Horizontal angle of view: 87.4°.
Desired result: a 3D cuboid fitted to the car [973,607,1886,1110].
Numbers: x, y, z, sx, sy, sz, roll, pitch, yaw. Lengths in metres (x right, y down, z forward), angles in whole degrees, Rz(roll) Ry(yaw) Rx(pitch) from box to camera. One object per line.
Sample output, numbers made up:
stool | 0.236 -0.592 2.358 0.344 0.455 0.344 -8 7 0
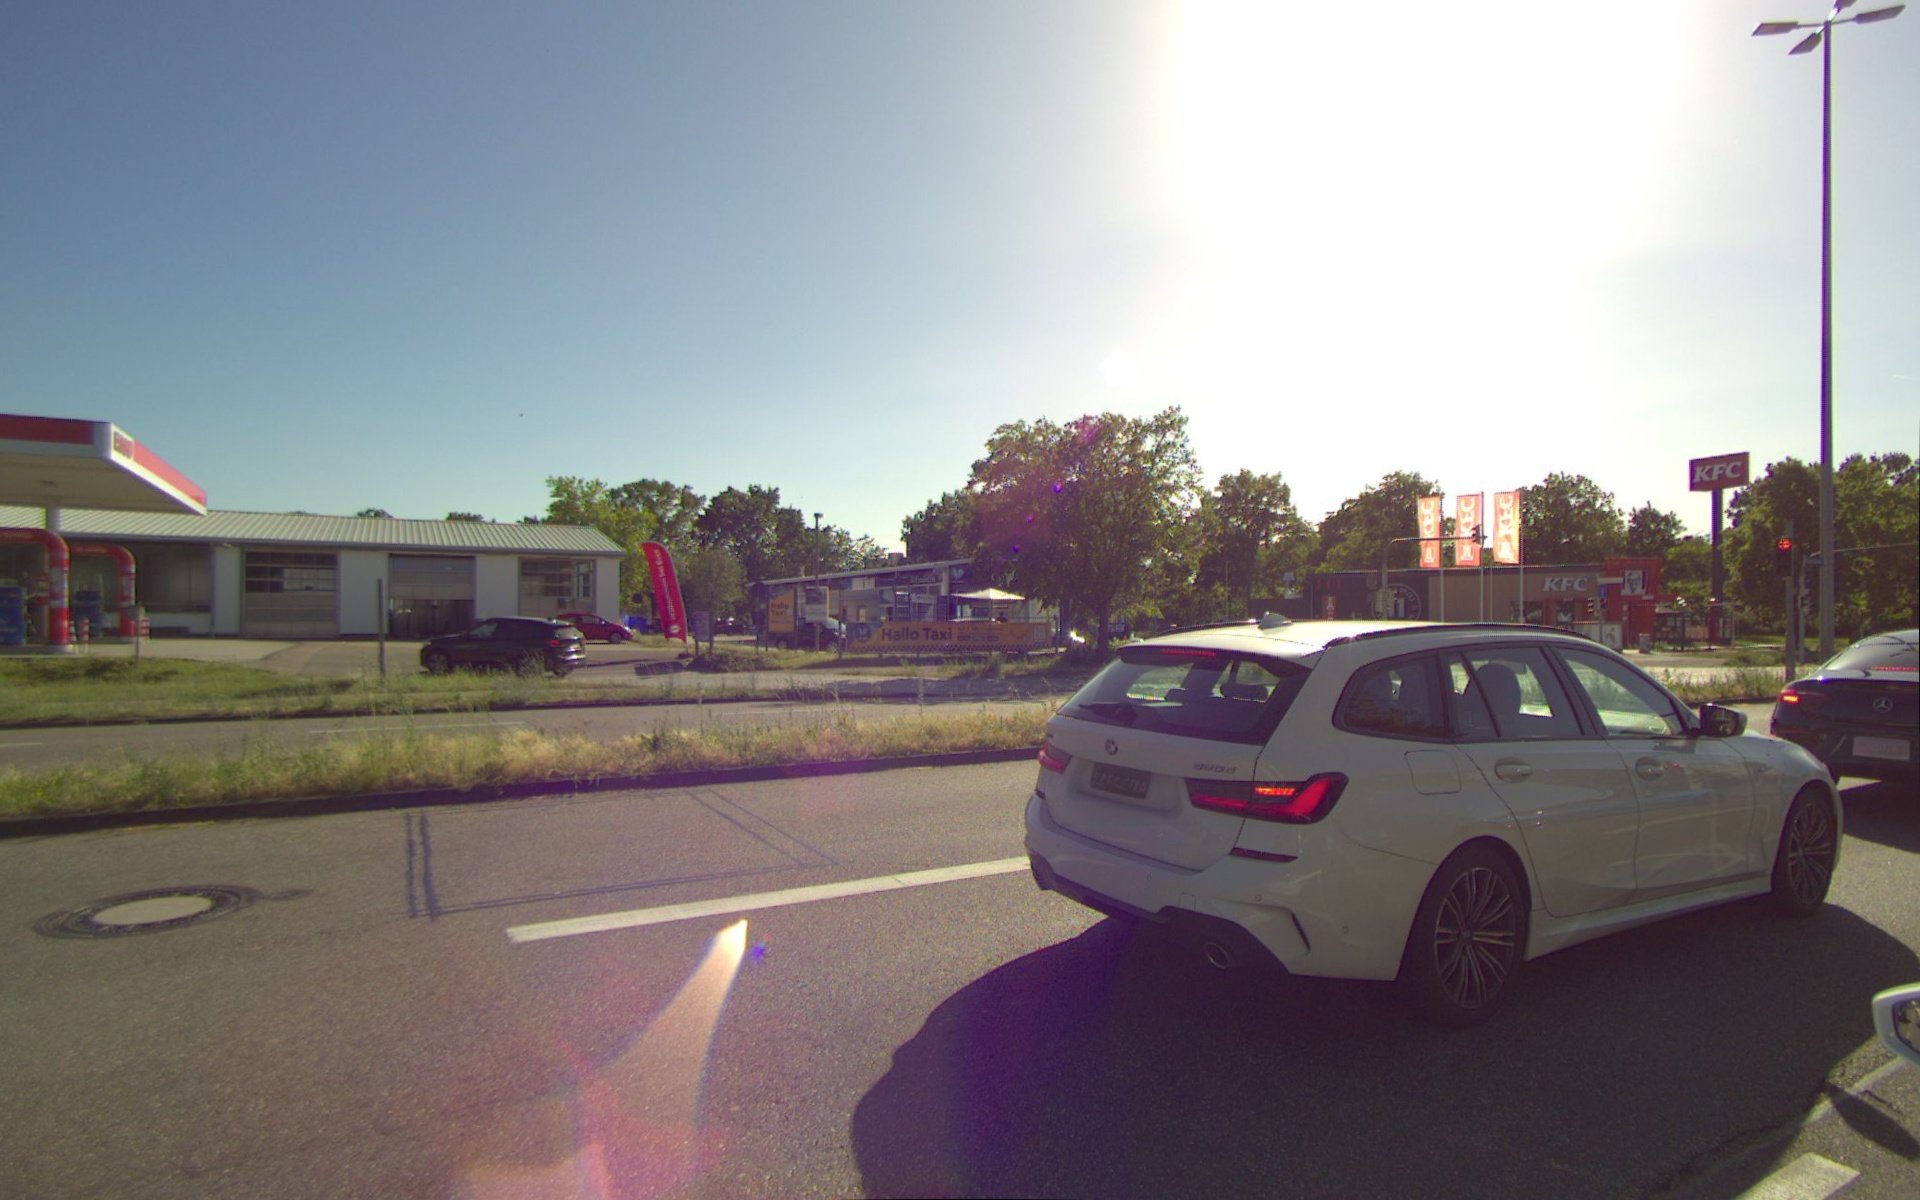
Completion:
car | 2.470 0.821 4.949 4.541 1.506 1.804 1 -1 -30

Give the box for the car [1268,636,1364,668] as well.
car | 17.035 2.475 48.230 1.850 1.268 4.062 2 0 -31

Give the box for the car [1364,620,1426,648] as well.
car | 29.970 2.331 69.225 3.724 1.837 1.986 2 0 -27

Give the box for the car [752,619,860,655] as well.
car | -6.015 1.420 39.206 3.930 1.193 1.774 2 0 31

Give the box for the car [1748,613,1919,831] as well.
car | 8.852 0.936 8.630 4.491 1.572 1.803 1 0 -31

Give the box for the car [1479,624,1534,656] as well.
car | 32.708 2.369 60.240 1.896 1.763 4.099 2 0 14

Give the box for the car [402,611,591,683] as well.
car | -12.421 1.229 27.098 4.235 1.749 1.809 2 0 4

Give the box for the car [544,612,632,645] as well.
car | -18.261 1.399 49.340 3.949 1.491 1.521 2 0 -24

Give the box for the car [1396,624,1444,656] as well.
car | 28.068 2.397 61.390 1.896 1.763 4.099 2 0 14

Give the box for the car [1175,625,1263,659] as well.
car | 13.968 2.231 54.448 1.914 1.600 4.599 2 0 -31

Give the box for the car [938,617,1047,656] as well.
car | 1.302 1.473 40.620 3.945 1.461 1.988 2 0 -24

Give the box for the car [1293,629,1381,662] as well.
car | 19.264 2.305 51.435 1.913 1.472 3.937 2 0 -29
